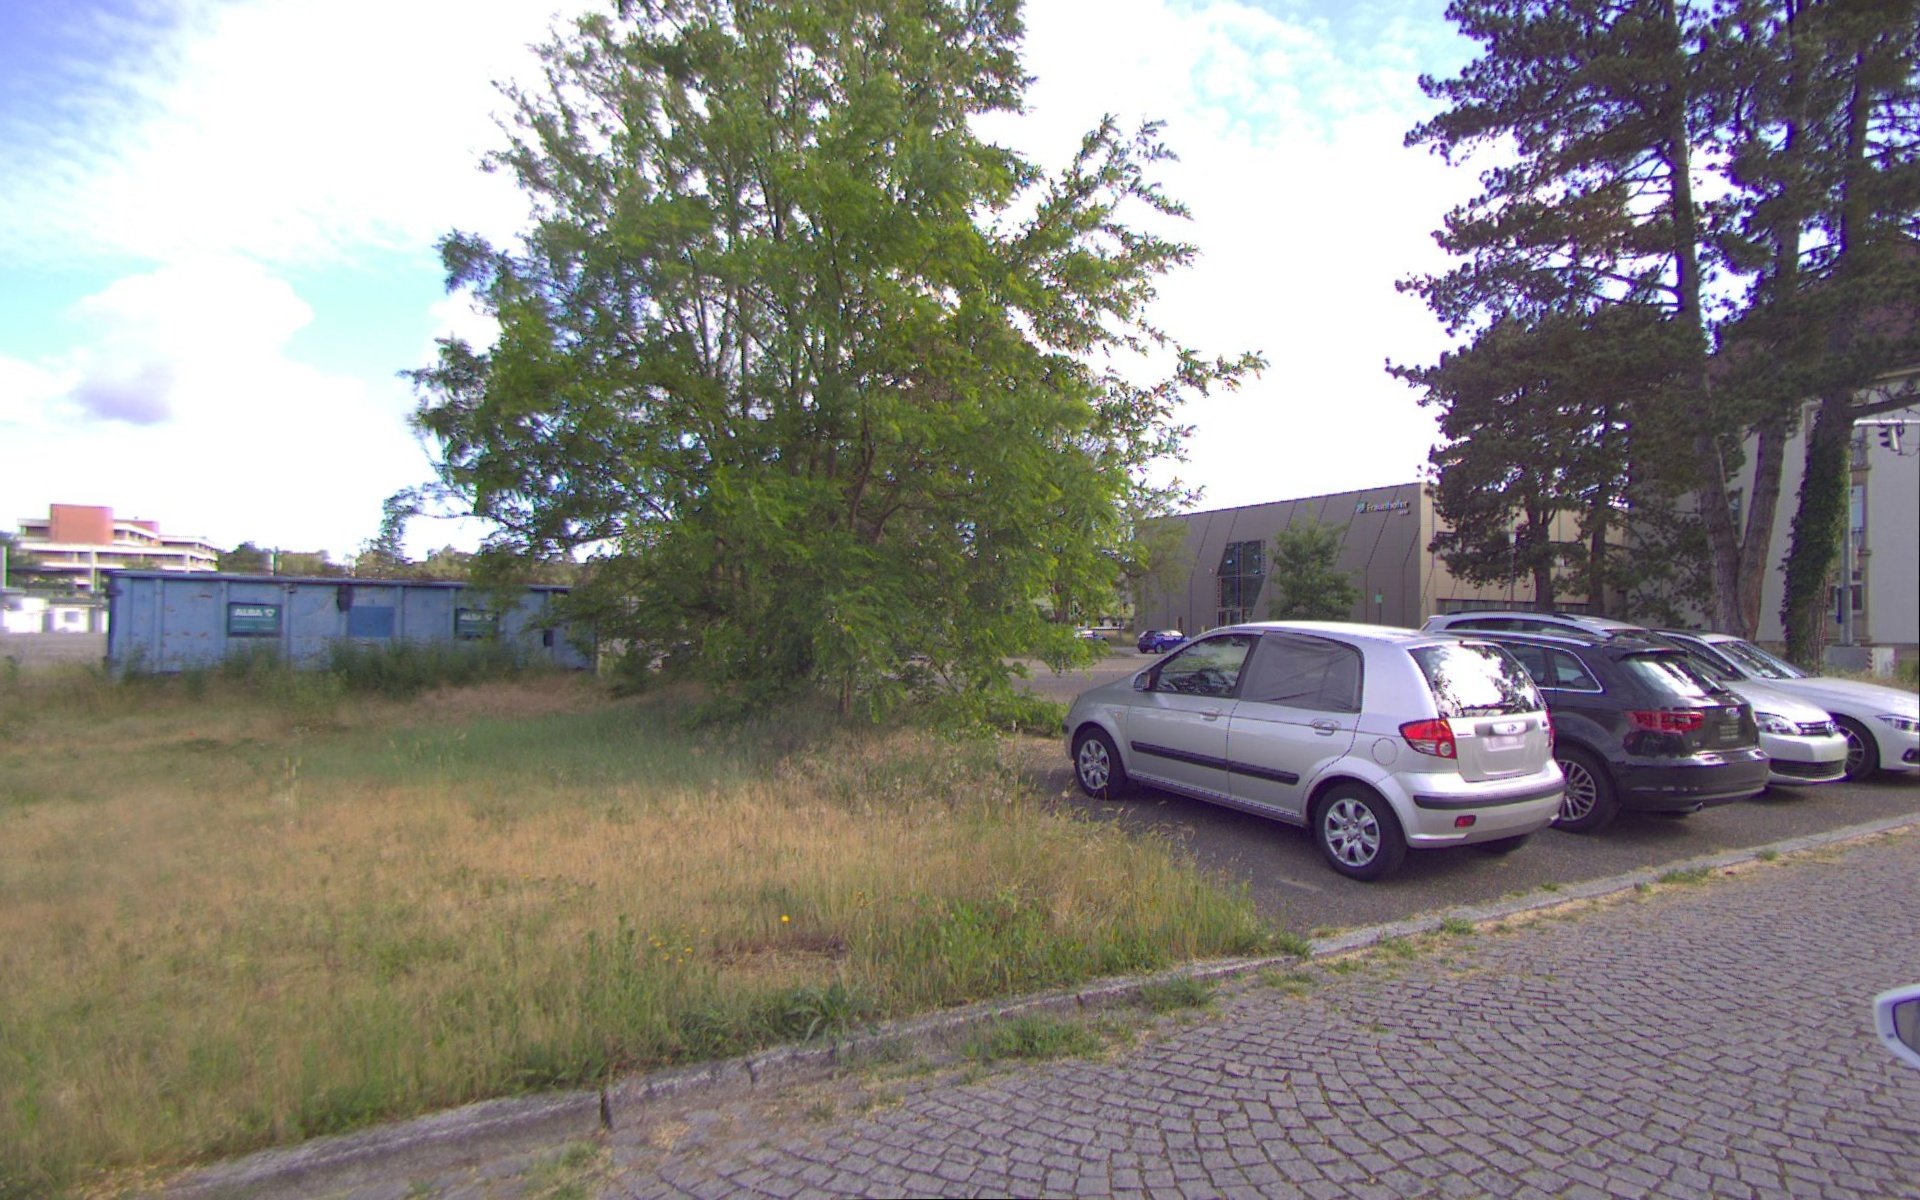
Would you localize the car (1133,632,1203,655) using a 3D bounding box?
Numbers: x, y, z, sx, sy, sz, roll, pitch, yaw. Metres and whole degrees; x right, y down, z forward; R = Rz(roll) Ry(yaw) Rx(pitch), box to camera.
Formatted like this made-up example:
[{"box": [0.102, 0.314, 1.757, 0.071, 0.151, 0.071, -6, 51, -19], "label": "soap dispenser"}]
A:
[{"box": [13.049, 2.714, 62.929, 4.077, 1.433, 1.752, 1, -2, -26], "label": "car"}]

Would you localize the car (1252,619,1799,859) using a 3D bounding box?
[{"box": [4.572, 0.967, 8.728, 1.675, 1.427, 3.818, 1, 1, -29], "label": "car"}]

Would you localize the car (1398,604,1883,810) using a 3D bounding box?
[{"box": [6.820, 0.915, 10.487, 1.716, 1.629, 3.810, 1, 1, -31], "label": "car"}]

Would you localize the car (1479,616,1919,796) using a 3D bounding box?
[{"box": [8.836, 1.060, 11.876, 1.810, 1.461, 4.452, 1, 2, -32], "label": "car"}]

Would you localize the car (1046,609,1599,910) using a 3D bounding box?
[{"box": [2.352, 0.890, 7.361, 1.629, 1.495, 3.557, 1, 1, -31], "label": "car"}]

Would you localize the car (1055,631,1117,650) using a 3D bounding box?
[{"box": [8.934, 2.854, 71.170, 4.142, 1.289, 1.600, 1, -2, -26], "label": "car"}]
